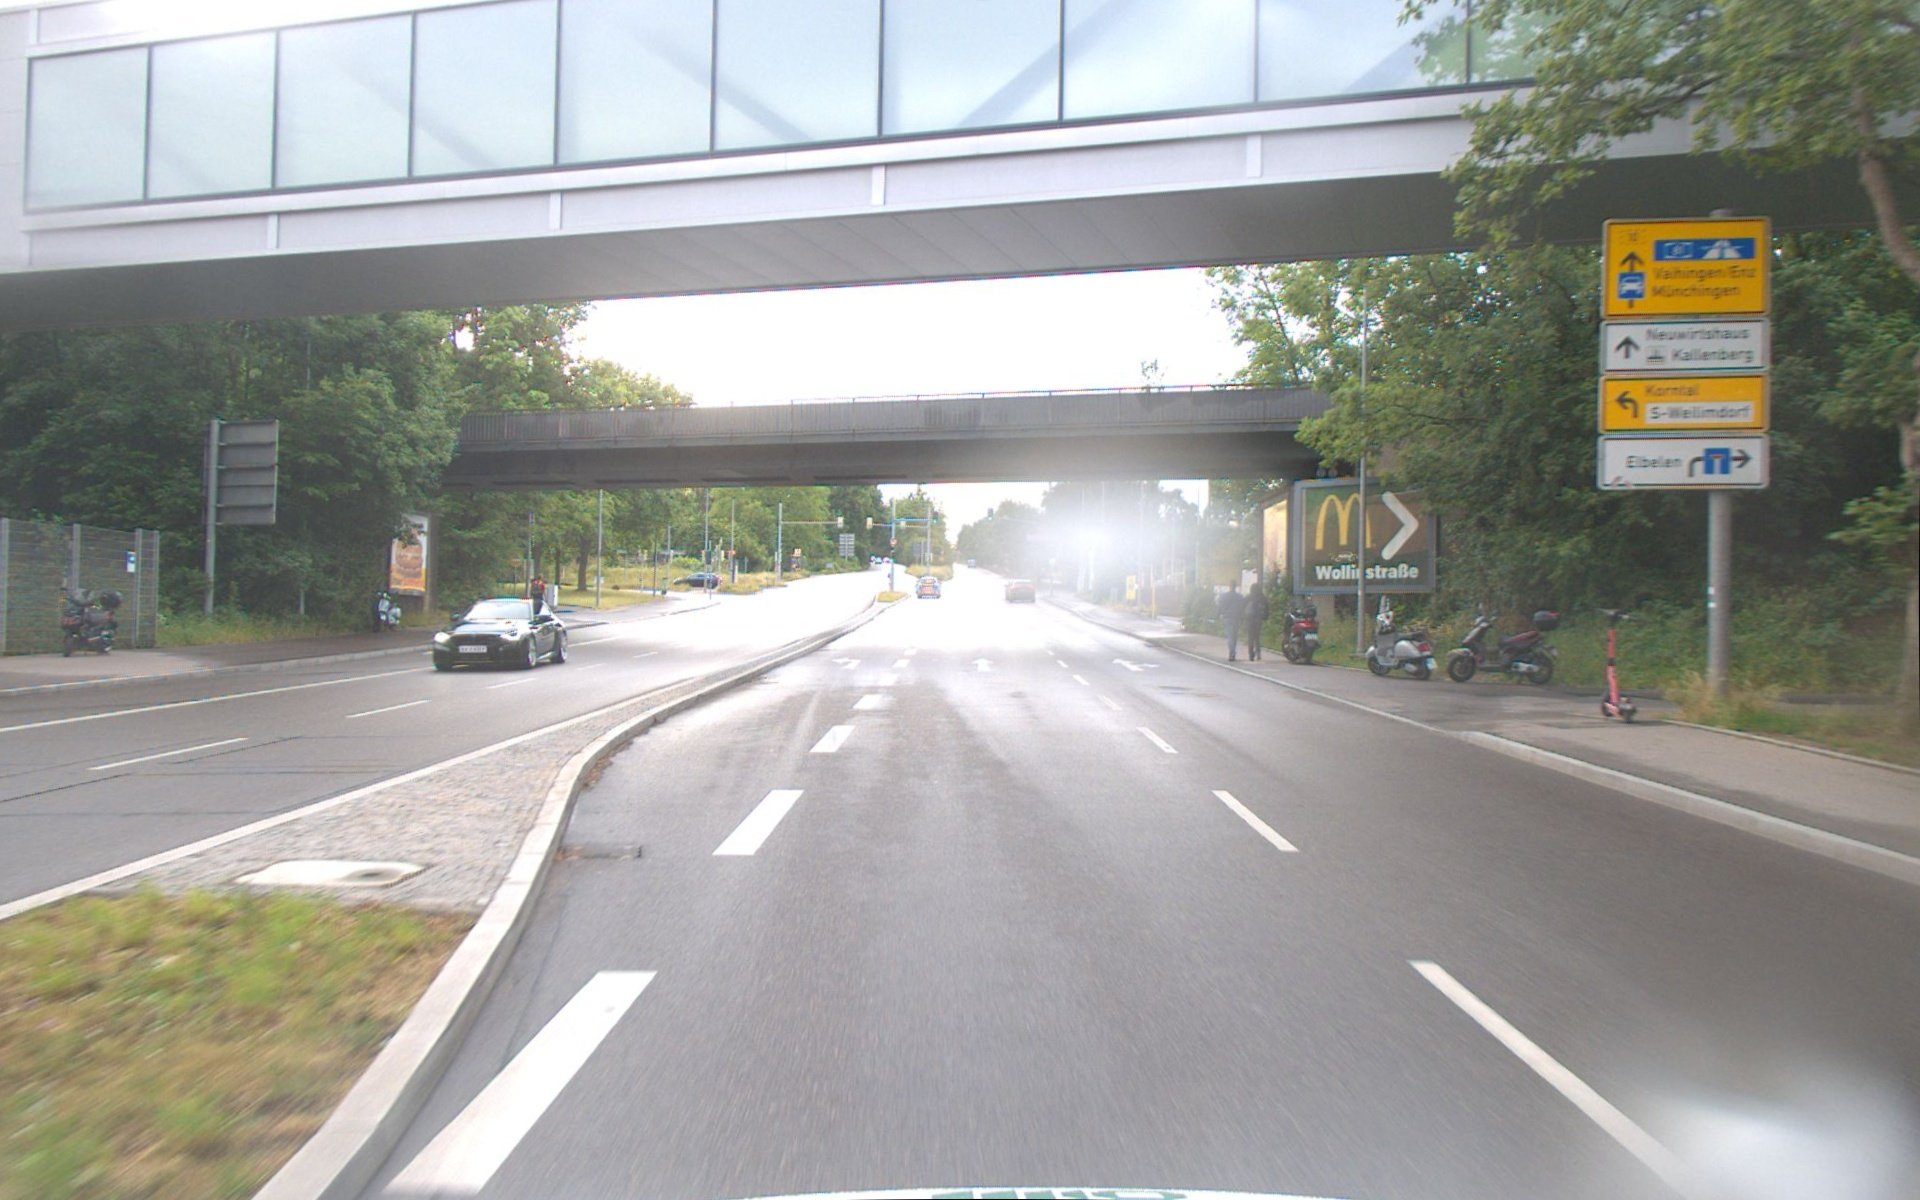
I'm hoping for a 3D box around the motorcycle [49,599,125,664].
[{"bbox_3d":[-17.336,0.604,32.882,0.459,1.226,1.996,0,1,0],"label":"motorcycle"}]

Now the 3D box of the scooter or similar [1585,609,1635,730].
[{"bbox_3d":[7.363,0.761,18.758,0.305,1.321,1.309,0,0,12],"label":"scooter or similar"}]

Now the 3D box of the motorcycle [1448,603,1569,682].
[{"bbox_3d":[9.463,0.715,28.564,1.905,1.320,0.545,0,0,36],"label":"motorcycle"}]

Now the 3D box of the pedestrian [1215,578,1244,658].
[{"bbox_3d":[5.917,0.387,36.278,0.598,1.751,0.892,0,0,10],"label":"pedestrian"}]

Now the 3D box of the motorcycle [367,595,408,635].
[{"bbox_3d":[-17.172,0.439,49.665,0.459,1.179,1.933,0,1,3],"label":"motorcycle"}]

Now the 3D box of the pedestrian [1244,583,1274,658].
[{"bbox_3d":[6.516,0.448,36.036,0.636,1.624,0.579,0,0,12],"label":"pedestrian"}]

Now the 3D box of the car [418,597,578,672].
[{"bbox_3d":[-9.354,0.654,33.912,2.022,1.385,4.756,0,0,-1],"label":"car"}]

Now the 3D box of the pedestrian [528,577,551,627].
[{"bbox_3d":[-15.619,0.074,61.437,0.508,1.847,0.800,1,0,10],"label":"pedestrian"}]

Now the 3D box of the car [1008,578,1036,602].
[{"bbox_3d":[4.165,-0.680,111.668,1.709,1.495,4.166,1,1,0],"label":"car"}]

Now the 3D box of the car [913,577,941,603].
[{"bbox_3d":[-2.484,-0.739,123.443,2.034,1.748,4.197,2,-1,-2],"label":"car"}]

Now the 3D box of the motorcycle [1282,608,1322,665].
[{"bbox_3d":[7.165,0.752,34.733,0.460,1.156,1.819,0,0,0],"label":"motorcycle"}]

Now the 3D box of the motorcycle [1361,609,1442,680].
[{"bbox_3d":[8.091,0.793,30.373,0.462,1.234,1.934,0,0,-18],"label":"motorcycle"}]

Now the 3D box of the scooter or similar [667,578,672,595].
[{"bbox_3d":[-21.202,-1.006,120.635,0.306,1.239,1.303,1,1,-13],"label":"scooter or similar"}]
